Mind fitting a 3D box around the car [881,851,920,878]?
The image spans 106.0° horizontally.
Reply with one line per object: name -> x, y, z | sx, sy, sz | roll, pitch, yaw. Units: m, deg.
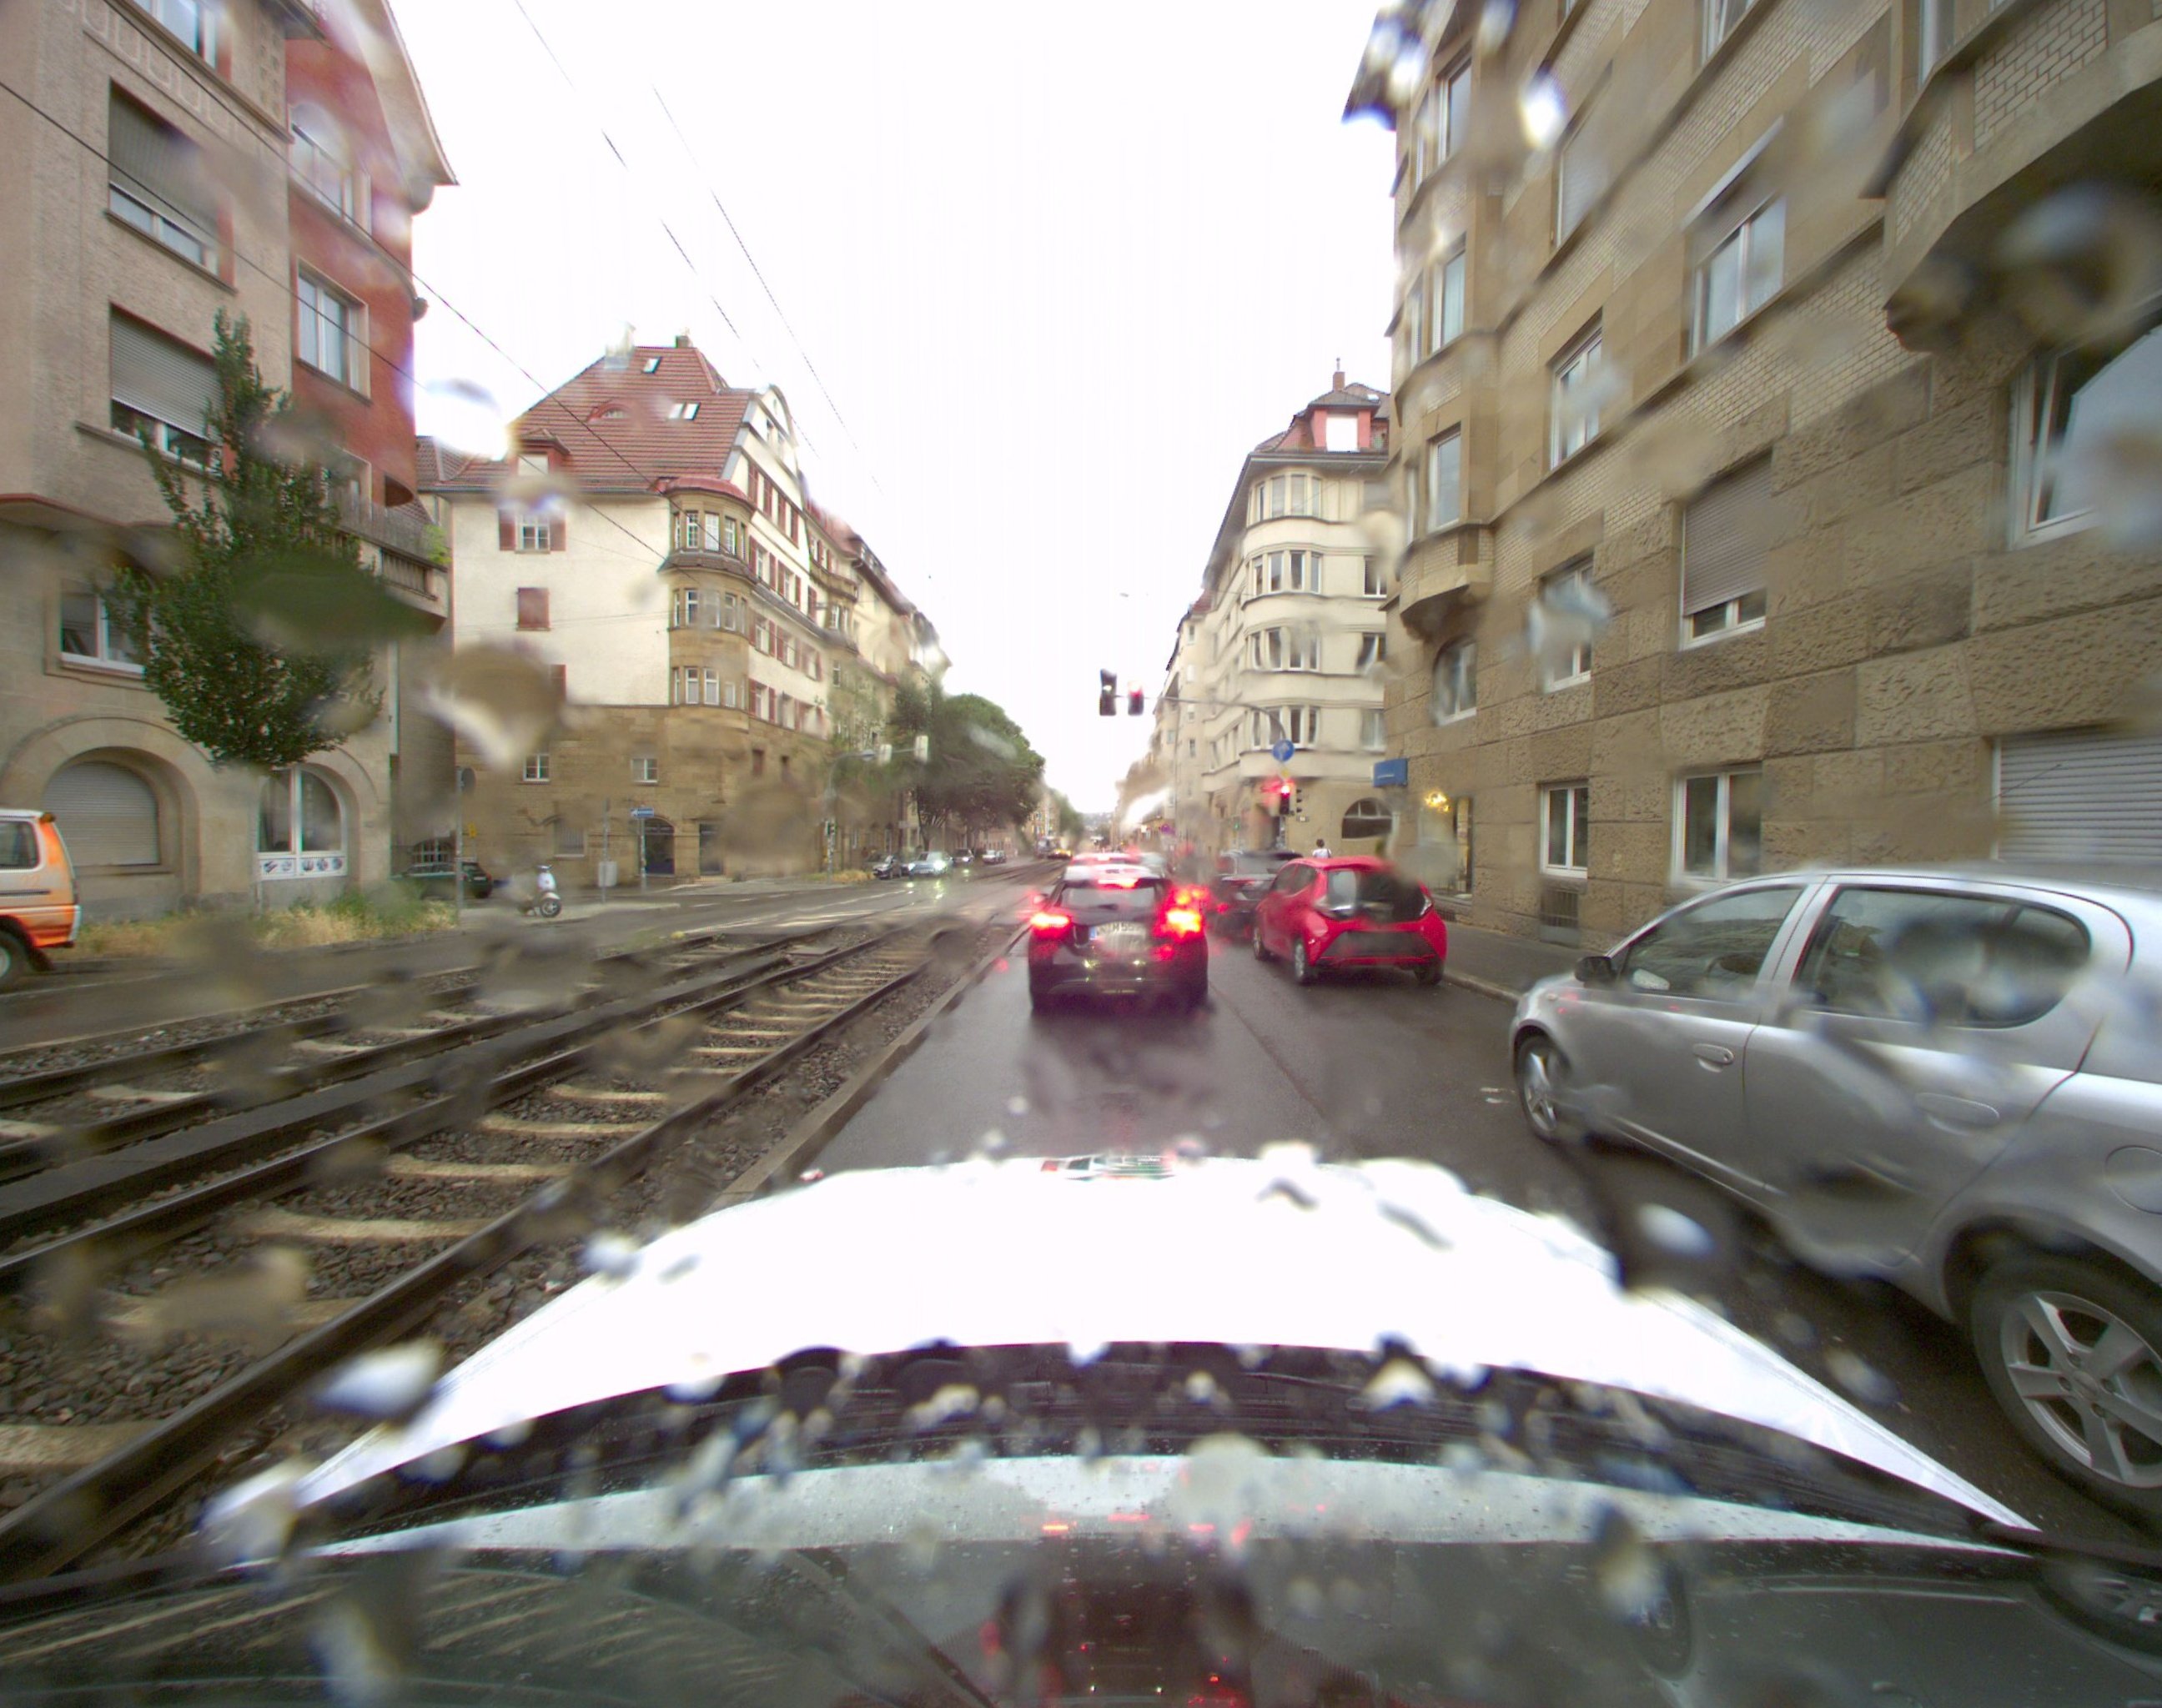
car -> -11.284, 0.646, 51.161 | 1.713, 1.611, 3.914 | 0, -1, -3

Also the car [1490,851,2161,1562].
car -> 3.146, 0.744, 3.108 | 1.608, 1.467, 3.314 | -2, 0, 3

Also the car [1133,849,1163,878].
car -> 3.844, 0.521, 47.184 | 1.539, 1.590, 3.549 | 0, 0, 2

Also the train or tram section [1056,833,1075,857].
train or tram section -> -2.558, -1.437, 137.957 | 2.772, 3.861, 10.433 | 0, -1, 2

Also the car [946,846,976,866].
car -> -10.593, 0.211, 72.148 | 1.868, 1.737, 3.920 | 0, -1, 2

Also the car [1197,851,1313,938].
car -> 3.244, 0.690, 15.818 | 1.539, 1.486, 3.831 | 0, 0, 2

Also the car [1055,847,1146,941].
car -> 0.393, 0.702, 15.967 | 1.559, 1.609, 3.815 | 0, -1, 2

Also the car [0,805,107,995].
car -> -12.122, 0.476, 7.219 | 1.725, 1.975, 4.341 | 0, -1, 0

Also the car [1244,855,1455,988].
car -> 3.277, 0.736, 10.573 | 1.637, 1.448, 3.298 | 0, 0, -1

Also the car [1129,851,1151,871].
car -> 4.418, 0.522, 61.591 | 1.539, 1.486, 3.549 | 0, 0, 2

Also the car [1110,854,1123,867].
car -> 4.798, 0.845, 109.267 | 1.537, 1.636, 3.691 | 0, 0, 5

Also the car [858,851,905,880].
car -> -11.253, 0.641, 46.126 | 1.747, 1.552, 4.033 | 0, -1, -2

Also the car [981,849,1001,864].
car -> -9.863, 0.301, 89.606 | 1.583, 1.581, 3.920 | 0, -1, 2

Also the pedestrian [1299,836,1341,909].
pedestrian -> 5.938, 0.455, 20.305 | 0.739, 1.748, 1.111 | 0, -1, 2

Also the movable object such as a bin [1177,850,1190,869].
movable object such as a bin -> 7.476, 0.415, 59.564 | 0.873, 1.389, 0.984 | -1, -1, 5

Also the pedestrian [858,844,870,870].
pedestrian -> -14.086, 0.215, 52.954 | 0.630, 1.672, 0.701 | 0, -1, -6

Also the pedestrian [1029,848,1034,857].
pedestrian -> -10.920, -0.244, 179.211 | 1.049, 1.957, 1.043 | 1, 0, 3

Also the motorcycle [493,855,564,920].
motorcycle -> -12.066, 0.717, 17.775 | 1.577, 1.365, 0.628 | -1, -1, 28

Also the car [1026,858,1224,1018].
car -> 0.466, 0.784, 9.572 | 1.822, 1.458, 4.105 | 0, 0, 2

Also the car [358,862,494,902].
car -> -24.383, 1.019, 30.418 | 3.633, 1.404, 1.699 | 0, -1, -3

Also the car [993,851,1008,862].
car -> -9.792, 0.287, 99.022 | 1.443, 1.331, 3.271 | 0, -1, 0

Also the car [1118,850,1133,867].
car -> 4.029, 0.395, 73.682 | 1.289, 1.442, 2.930 | 0, 0, 2

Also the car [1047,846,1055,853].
car -> -5.521, -0.915, 151.207 | 1.372, 1.249, 3.297 | 0, -1, 0

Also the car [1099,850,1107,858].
car -> 5.891, 0.009, 216.814 | 1.986, 1.876, 4.001 | 0, -1, 2

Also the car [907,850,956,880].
car -> -8.268, 0.581, 45.440 | 1.891, 1.588, 3.974 | 0, -1, 2

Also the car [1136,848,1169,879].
car -> 3.703, 0.479, 42.709 | 1.539, 1.590, 3.549 | 0, 0, 2
